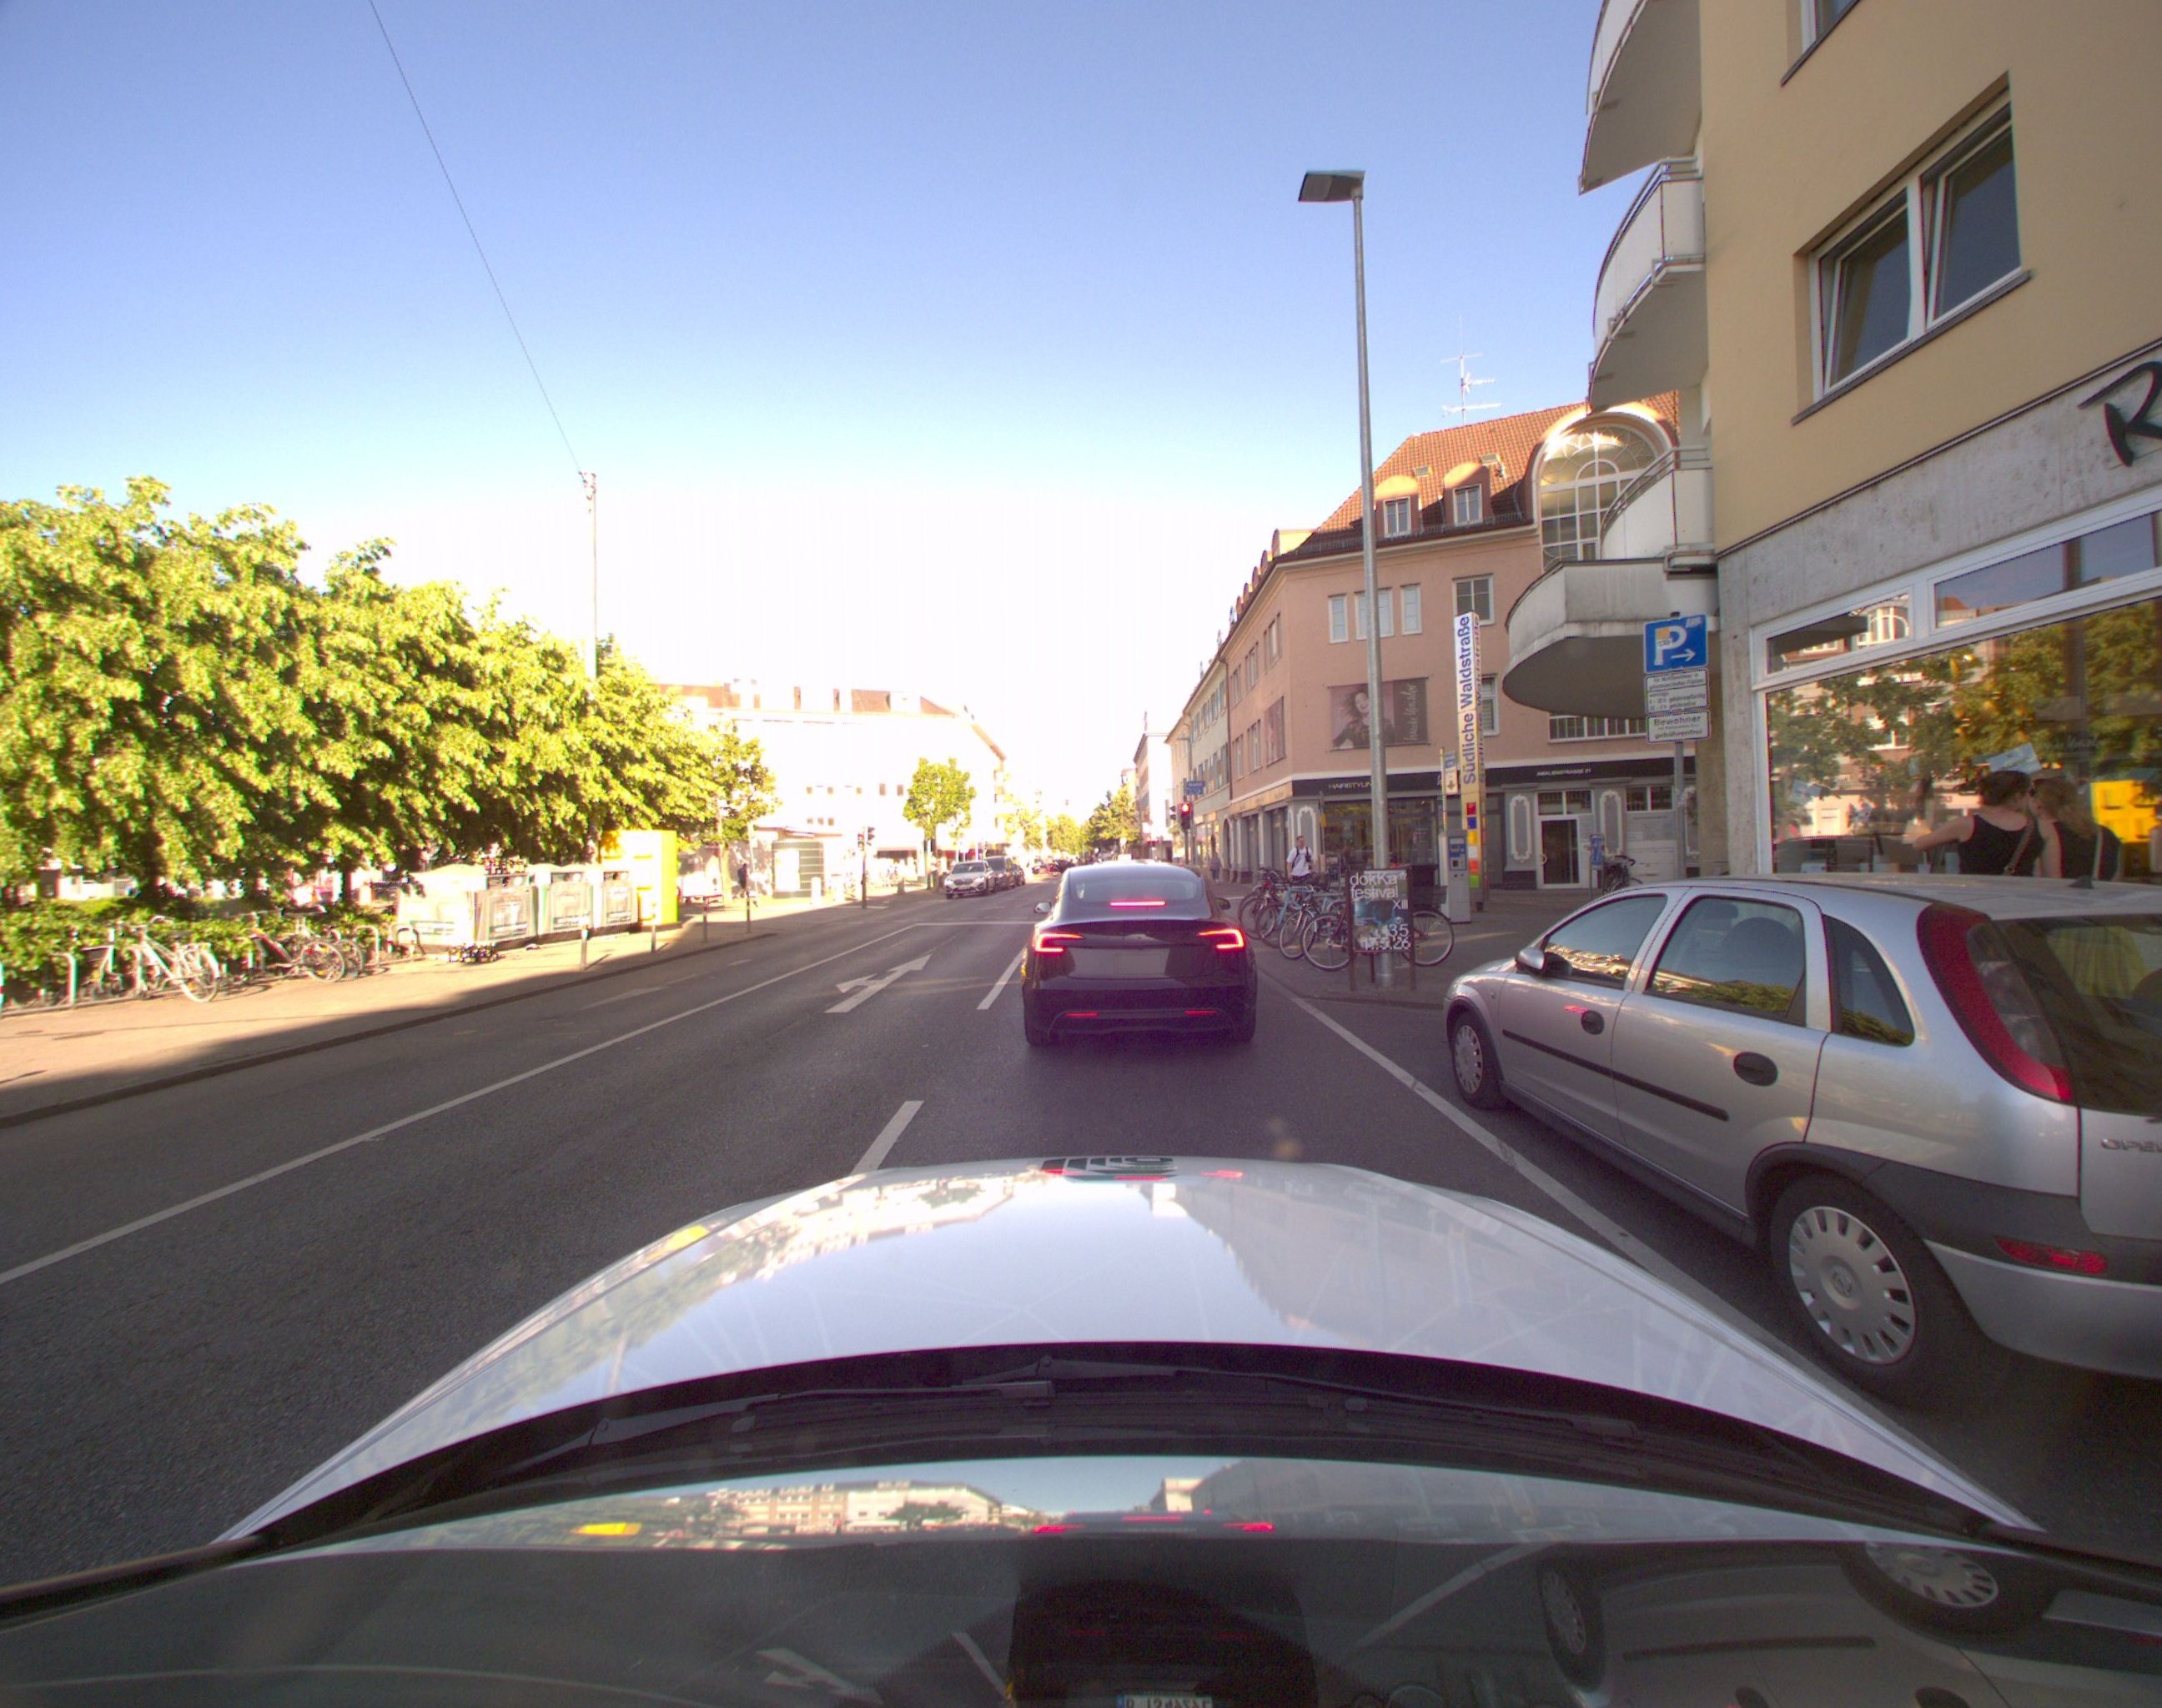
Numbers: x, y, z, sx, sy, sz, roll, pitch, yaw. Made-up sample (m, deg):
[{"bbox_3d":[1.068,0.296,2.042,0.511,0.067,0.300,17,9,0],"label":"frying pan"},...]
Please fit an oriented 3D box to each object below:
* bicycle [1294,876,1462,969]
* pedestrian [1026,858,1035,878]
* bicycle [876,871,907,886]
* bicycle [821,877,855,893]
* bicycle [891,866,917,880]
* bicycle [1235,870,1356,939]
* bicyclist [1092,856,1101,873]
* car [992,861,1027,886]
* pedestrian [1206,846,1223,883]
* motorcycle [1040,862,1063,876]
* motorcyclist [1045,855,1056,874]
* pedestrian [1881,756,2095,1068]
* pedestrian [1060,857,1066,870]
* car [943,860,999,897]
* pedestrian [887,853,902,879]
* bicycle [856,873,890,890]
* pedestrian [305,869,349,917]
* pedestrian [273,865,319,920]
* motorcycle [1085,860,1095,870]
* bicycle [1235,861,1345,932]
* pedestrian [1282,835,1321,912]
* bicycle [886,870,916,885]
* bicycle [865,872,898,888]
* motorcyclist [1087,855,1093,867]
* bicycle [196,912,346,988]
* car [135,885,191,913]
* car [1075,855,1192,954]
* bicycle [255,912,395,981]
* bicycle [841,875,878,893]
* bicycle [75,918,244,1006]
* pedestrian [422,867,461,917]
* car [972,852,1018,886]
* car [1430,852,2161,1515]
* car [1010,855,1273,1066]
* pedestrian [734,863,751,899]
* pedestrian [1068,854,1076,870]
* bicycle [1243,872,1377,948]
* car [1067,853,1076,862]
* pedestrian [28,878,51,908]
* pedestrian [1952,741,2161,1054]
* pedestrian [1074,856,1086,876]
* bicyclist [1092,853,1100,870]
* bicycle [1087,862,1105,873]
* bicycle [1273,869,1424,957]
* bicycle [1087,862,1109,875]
[{"bbox_3d":[3.628,0.840,10.045,1.862,1.038,0.354,-3,-1,8],"label":"bicycle"},{"bbox_3d":[-3.975,1.099,64.111,0.623,1.538,0.511,0,-1,-17],"label":"pedestrian"},{"bbox_3d":[-12.269,1.566,52.660,1.857,0.934,0.606,-1,0,0],"label":"bicycle"},{"bbox_3d":[-12.841,1.634,43.086,1.640,0.792,0.606,0,-1,-3],"label":"bicycle"},{"bbox_3d":[-17.091,1.819,78.630,2.373,1.296,0.509,0,-1,-25],"label":"bicycle"},{"bbox_3d":[3.578,0.842,13.677,1.863,1.038,0.548,-3,-1,7],"label":"bicycle"},{"bbox_3d":[1.311,0.882,69.178,0.670,1.395,0.460,0,-1,-14],"label":"bicyclist"},{"bbox_3d":[-4.347,1.170,50.134,1.709,1.446,3.846,0,-1,2],"label":"car"},{"bbox_3d":[6.346,0.500,38.643,0.704,1.742,0.540,-1,0,1],"label":"pedestrian"},{"bbox_3d":[-2.510,1.257,69.084,1.939,1.110,0.514,-1,0,-30],"label":"motorcycle"},{"bbox_3d":[-2.599,0.887,69.040,0.724,1.528,0.511,-1,-1,-30],"label":"motorcyclist"},{"bbox_3d":[5.270,0.311,4.786,0.650,1.665,0.651,-1,0,32],"label":"pedestrian"},{"bbox_3d":[-2.025,1.096,92.553,0.524,1.422,0.475,0,-1,-28],"label":"pedestrian"},{"bbox_3d":[-4.876,1.048,36.428,1.782,1.460,3.759,-4,-1,2],"label":"car"},{"bbox_3d":[-14.605,0.960,63.662,1.060,2.014,1.049,0,-1,-18],"label":"pedestrian"},{"bbox_3d":[-12.184,1.616,47.742,1.857,0.934,0.606,0,-1,0],"label":"bicycle"},{"bbox_3d":[-32.341,1.664,34.929,1.145,2.014,1.040,-1,0,26],"label":"pedestrian"},{"bbox_3d":[-29.404,1.438,30.513,0.890,2.013,0.893,-1,0,15],"label":"pedestrian"},{"bbox_3d":[0.953,1.150,86.486,0.985,1.086,0.352,0,-1,-35],"label":"motorcycle"},{"bbox_3d":[3.774,0.762,14.793,1.818,1.169,0.507,-3,-1,7],"label":"bicycle"},{"bbox_3d":[5.156,0.447,19.110,0.747,1.765,0.838,0,-1,6],"label":"pedestrian"},{"bbox_3d":[-12.189,1.585,55.109,1.857,0.934,0.606,-1,0,0],"label":"bicycle"},{"bbox_3d":[-12.308,1.592,50.220,1.857,0.934,0.606,0,-1,0],"label":"bicycle"},{"bbox_3d":[0.948,0.781,86.492,0.493,1.253,0.351,0,-1,-36],"label":"motorcyclist"},{"bbox_3d":[-11.547,1.355,11.615,1.913,1.003,0.518,-1,-1,11],"label":"bicycle"},{"bbox_3d":[-50.068,2.437,44.405,3.526,1.386,1.703,-1,0,36],"label":"car"},{"bbox_3d":[0.792,0.751,13.940,1.712,1.425,3.757,-1,0,0],"label":"car"},{"bbox_3d":[-11.324,1.374,12.207,1.888,0.955,0.518,-1,-1,11],"label":"bicycle"},{"bbox_3d":[-12.410,1.681,45.654,1.857,0.934,0.606,-1,-1,0],"label":"bicycle"},{"bbox_3d":[-11.626,1.342,10.283,1.919,1.015,0.518,-1,-1,12],"label":"bicycle"},{"bbox_3d":[-22.406,1.327,28.520,0.754,1.698,0.793,-1,0,25],"label":"pedestrian"},{"bbox_3d":[-4.475,0.742,42.846,1.780,1.646,4.404,-1,0,2],"label":"car"},{"bbox_3d":[2.955,0.723,3.507,1.540,1.390,3.479,-1,1,3],"label":"car"},{"bbox_3d":[0.485,0.764,7.720,1.815,1.442,4.001,-1,-1,2],"label":"car"},{"bbox_3d":[-16.242,1.276,39.073,0.472,1.716,0.713,-1,-1,10],"label":"pedestrian"},{"bbox_3d":[-1.019,0.913,92.270,0.676,1.789,0.705,0,-1,-34],"label":"pedestrian"},{"bbox_3d":[3.490,0.854,12.516,1.864,1.038,0.534,-3,-1,5],"label":"bicycle"},{"bbox_3d":[-2.216,0.855,187.502,1.986,2.013,4.002,-1,0,2],"label":"car"},{"bbox_3d":[-77.737,2.883,60.789,0.891,2.171,0.882,-1,-1,26],"label":"pedestrian"},{"bbox_3d":[6.028,0.251,4.996,0.734,1.784,0.571,-1,0,23],"label":"pedestrian"},{"bbox_3d":[-0.101,0.968,67.123,0.756,1.631,0.951,0,-1,-16],"label":"pedestrian"},{"bbox_3d":[1.315,0.645,71.816,0.525,1.503,0.473,0,-1,-22],"label":"bicyclist"},{"bbox_3d":[1.342,1.177,71.814,1.562,1.012,0.480,0,-1,-22],"label":"bicycle"},{"bbox_3d":[3.645,0.808,11.179,1.864,1.087,0.415,-3,-1,5],"label":"bicycle"},{"bbox_3d":[1.440,1.232,69.212,1.787,1.007,0.469,0,-1,-15],"label":"bicycle"}]
